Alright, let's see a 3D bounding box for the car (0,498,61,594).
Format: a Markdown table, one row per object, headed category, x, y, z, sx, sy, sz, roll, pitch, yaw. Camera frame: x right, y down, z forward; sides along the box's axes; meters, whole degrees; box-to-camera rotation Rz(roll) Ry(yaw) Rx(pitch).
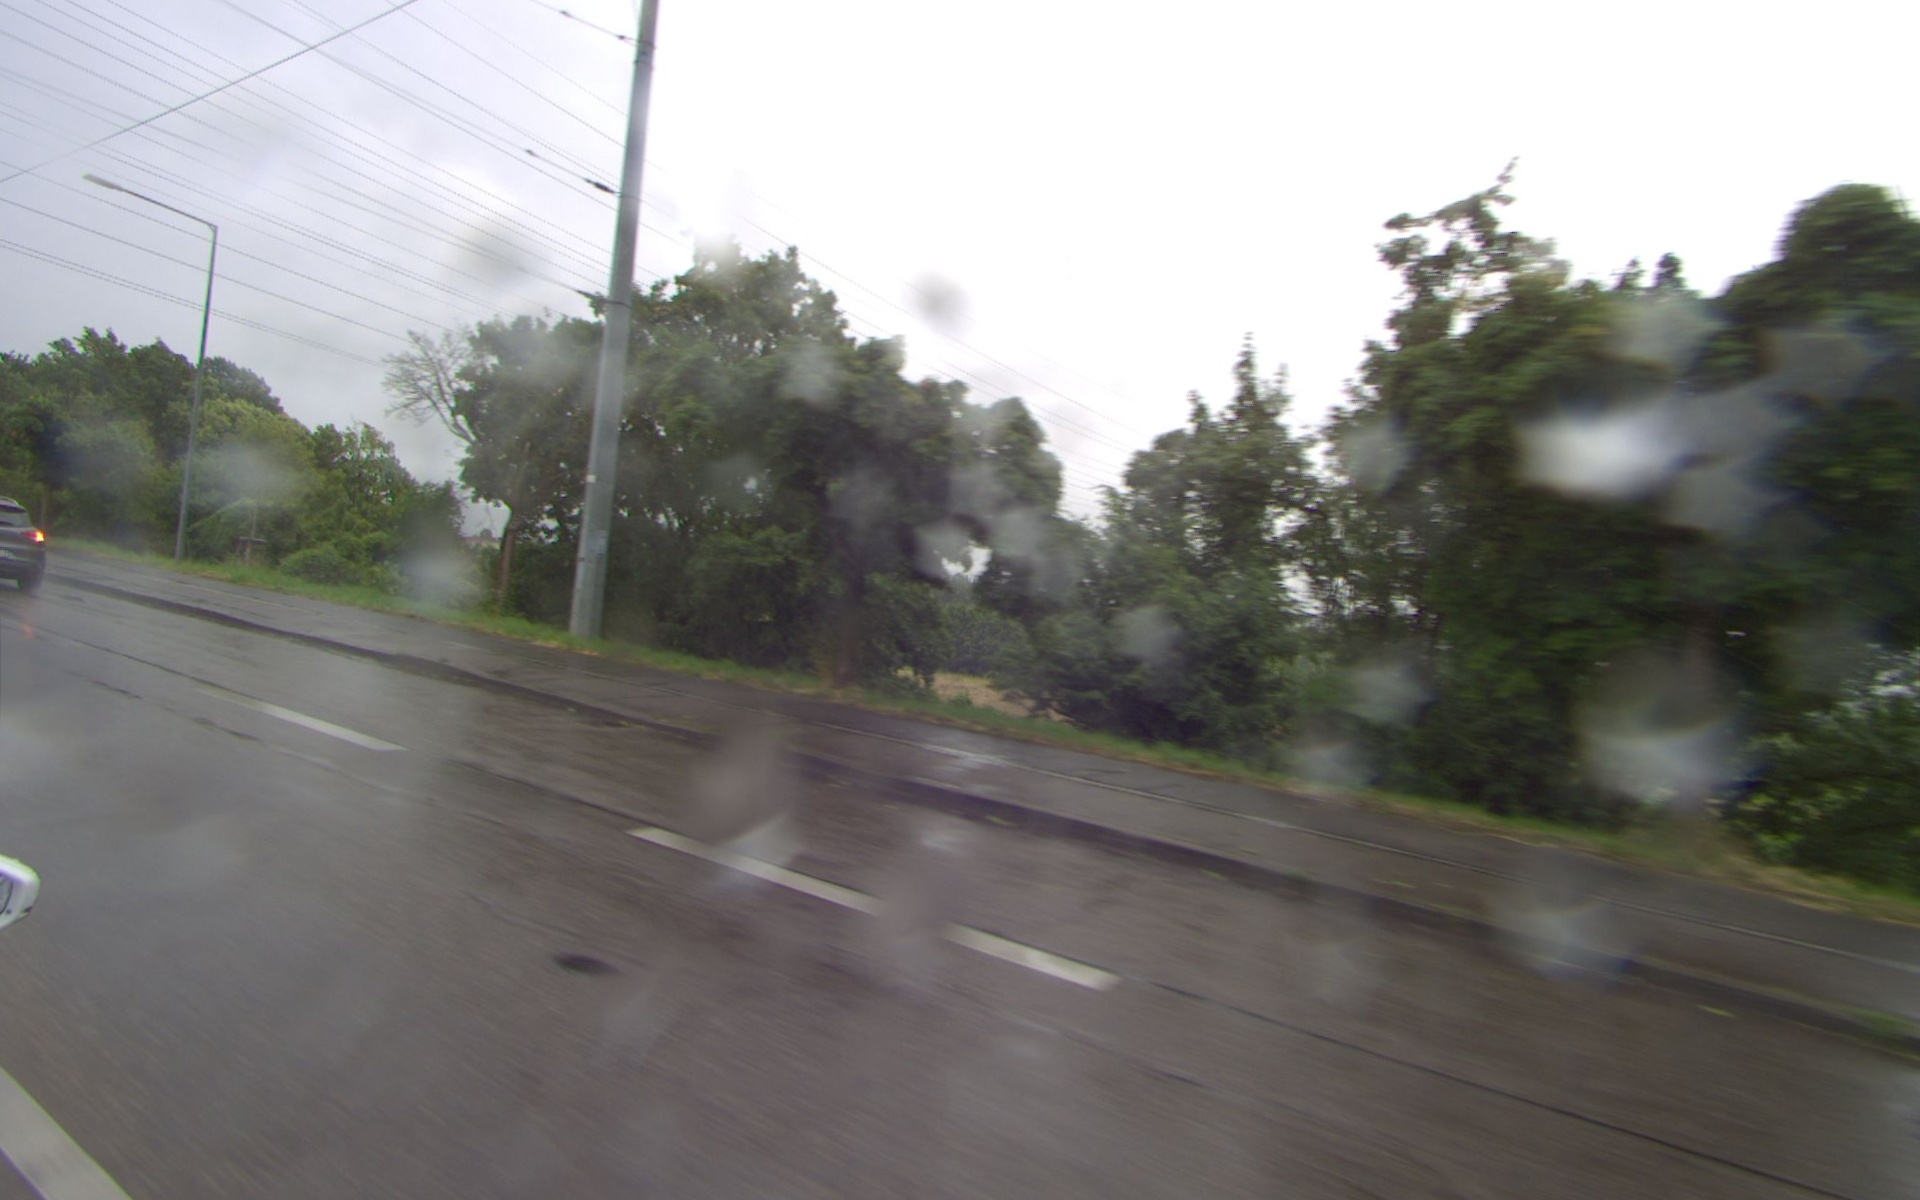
| category | x | y | z | sx | sy | sz | roll | pitch | yaw |
| --- | --- | --- | --- | --- | --- | --- | --- | --- | --- |
| car | -16.873 | -1.114 | 16.605 | 4.207 | 1.373 | 1.891 | 8 | -1 | 33 |
